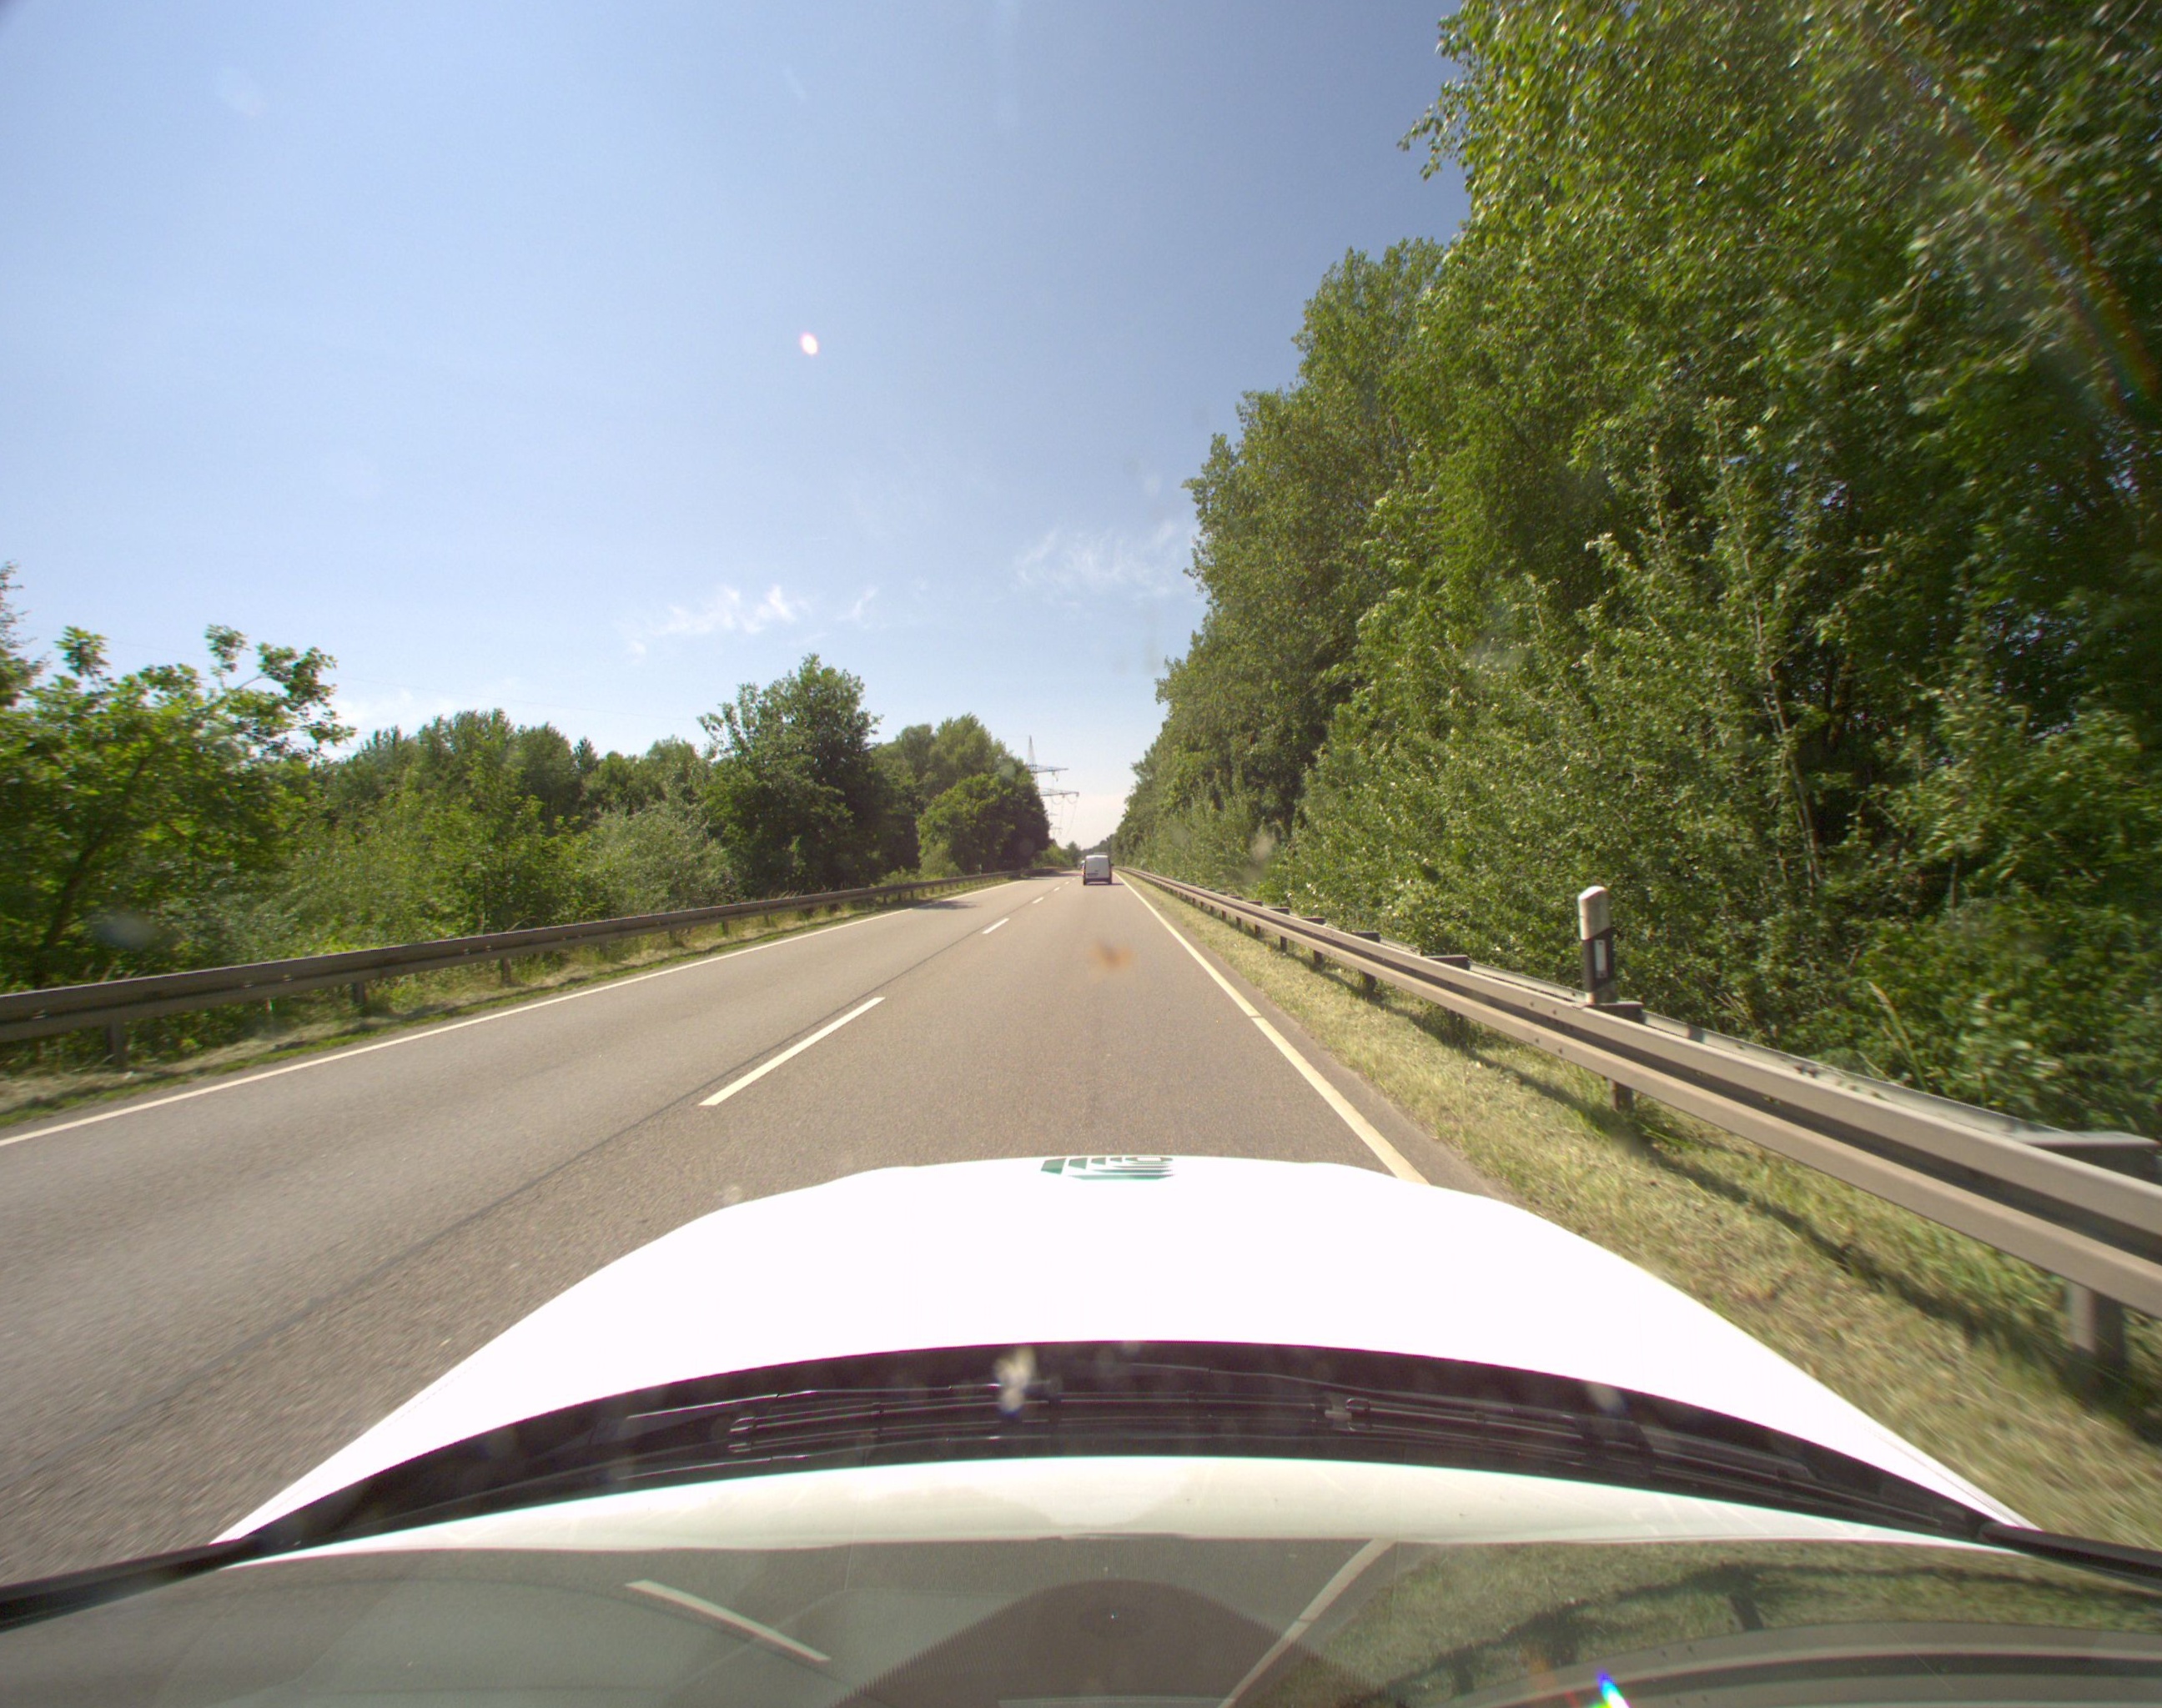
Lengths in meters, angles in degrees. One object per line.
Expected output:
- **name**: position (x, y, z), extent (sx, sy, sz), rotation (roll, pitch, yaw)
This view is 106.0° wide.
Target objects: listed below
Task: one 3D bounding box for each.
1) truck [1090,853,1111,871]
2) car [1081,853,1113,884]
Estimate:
- **truck**: position (3.713, 1.390, 148.230), extent (3.283, 3.172, 14.416), rotation (-1, 0, 3)
- **car**: position (1.002, 0.854, 49.741), extent (1.868, 1.741, 4.001), rotation (-1, 0, 1)
